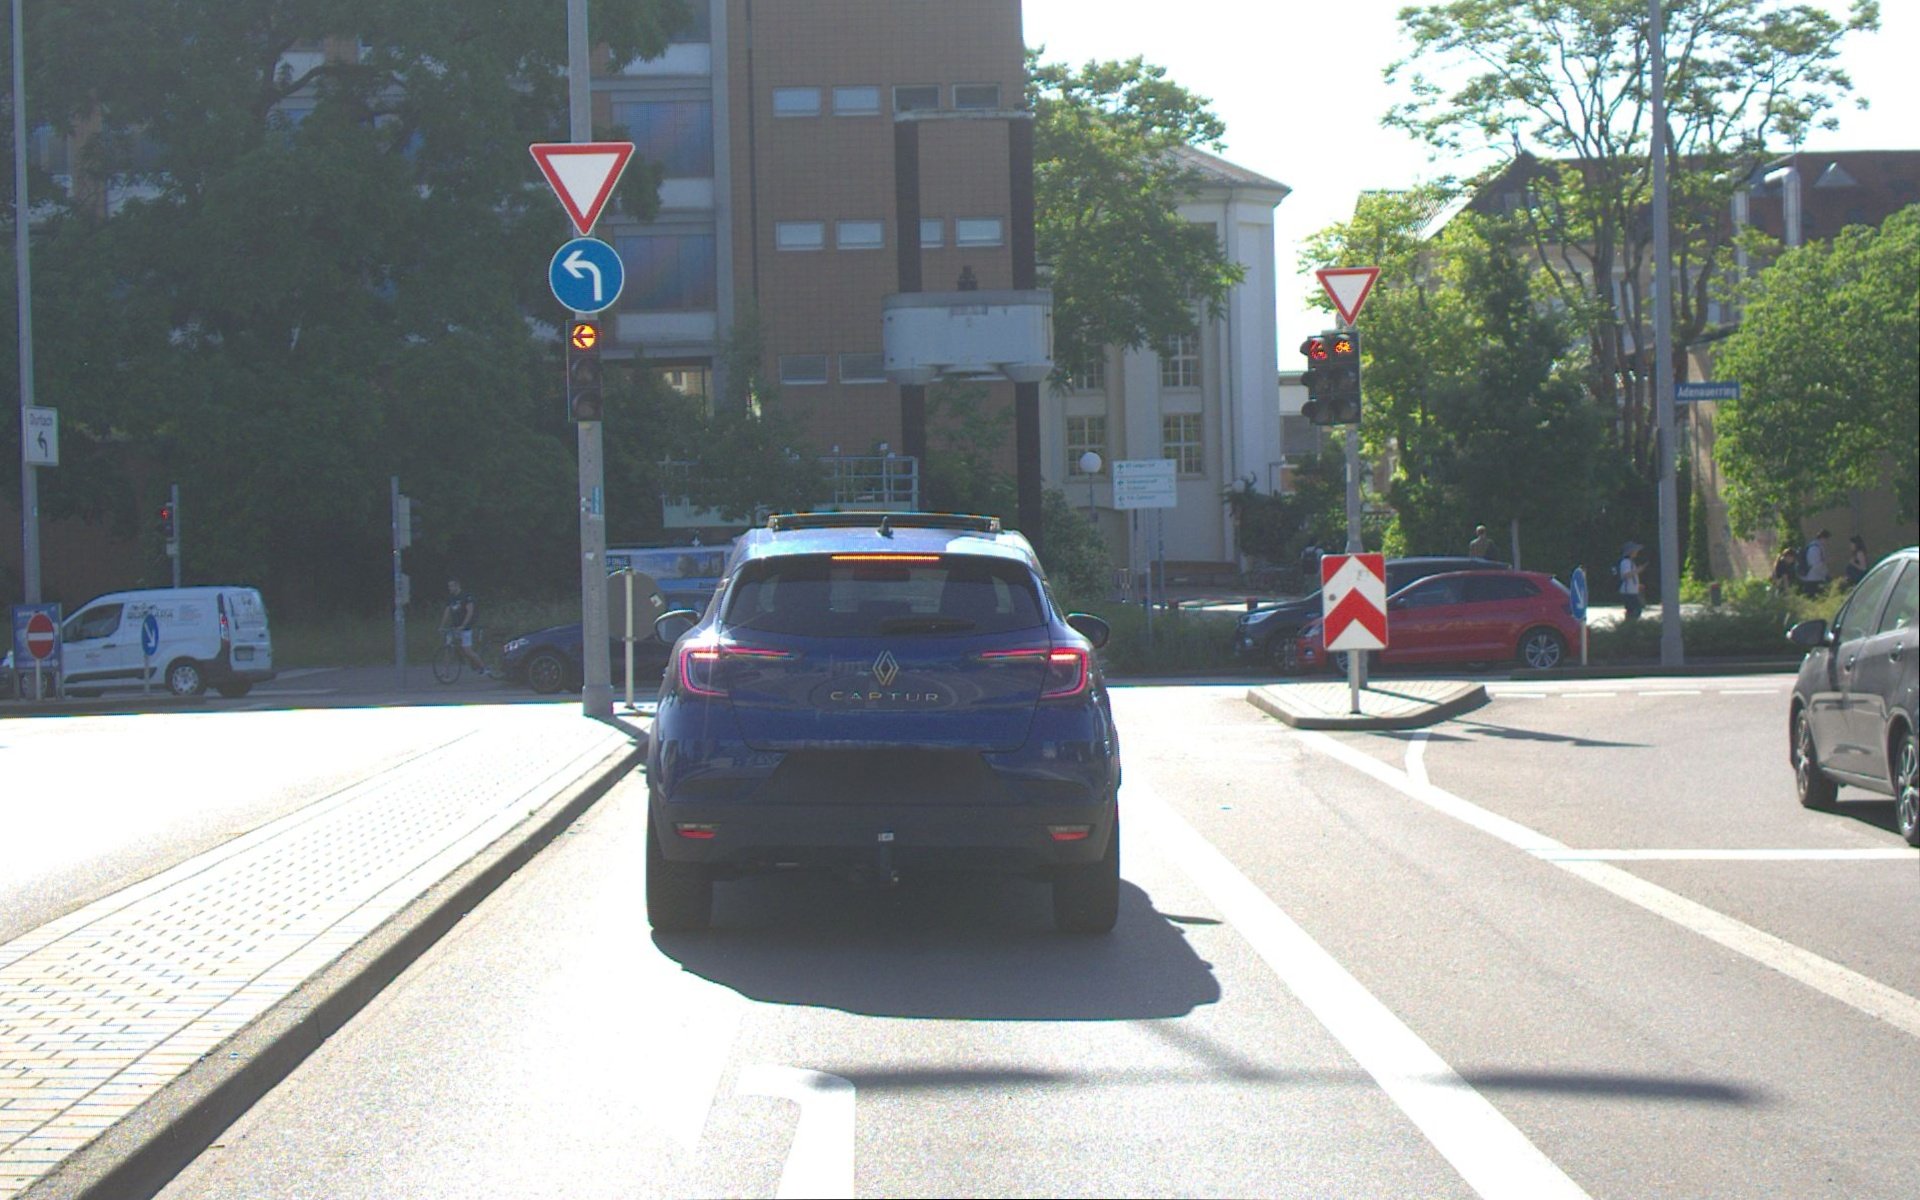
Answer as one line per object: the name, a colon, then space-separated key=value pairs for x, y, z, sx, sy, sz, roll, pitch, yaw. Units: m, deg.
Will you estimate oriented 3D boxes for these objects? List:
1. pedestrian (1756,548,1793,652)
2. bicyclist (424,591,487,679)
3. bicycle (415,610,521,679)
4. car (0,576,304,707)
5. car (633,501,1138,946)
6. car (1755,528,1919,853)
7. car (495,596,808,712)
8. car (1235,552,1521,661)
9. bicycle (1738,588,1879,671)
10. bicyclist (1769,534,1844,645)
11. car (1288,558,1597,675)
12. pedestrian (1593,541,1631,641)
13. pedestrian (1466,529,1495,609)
pedestrian: x=13.127 y=0.004 z=55.409 sx=0.556 sy=1.664 sz=0.476 roll=-1 pitch=-1 yaw=14
bicyclist: x=-8.434 y=0.578 z=57.526 sx=0.816 sy=1.439 sz=0.620 roll=-2 pitch=1 yaw=-37
bicycle: x=-8.249 y=0.742 z=57.674 sx=1.666 sy=1.089 sz=0.610 roll=-2 pitch=1 yaw=-38
car: x=-13.012 y=0.680 z=55.380 sx=4.350 sy=2.007 sz=1.999 roll=-1 pitch=-1 yaw=13
car: x=-0.432 y=0.436 z=14.208 sx=1.823 sy=1.594 sz=3.659 roll=0 pitch=0 yaw=-5
car: x=5.438 y=0.429 z=18.082 sx=1.756 sy=1.536 sz=3.658 roll=-1 pitch=0 yaw=2
car: x=-4.421 y=0.780 z=49.541 sx=4.116 sy=1.581 sz=1.879 roll=-1 pitch=-1 yaw=11
car: x=6.020 y=0.082 z=49.647 sx=3.988 sy=1.459 sz=2.000 roll=-1 pitch=1 yaw=6
bicycle: x=14.294 y=0.514 z=57.996 sx=0.848 sy=1.366 sz=2.459 roll=0 pitch=-1 yaw=-28
bicyclist: x=14.277 y=-0.169 z=58.001 sx=0.848 sy=1.840 sz=0.859 roll=0 pitch=-1 yaw=-28
car: x=6.420 y=0.214 z=46.027 sx=3.988 sy=1.459 sz=2.000 roll=-1 pitch=0 yaw=6
pedestrian: x=10.880 y=-0.147 z=57.342 sx=0.560 sy=1.664 sz=0.476 roll=-1 pitch=-1 yaw=14
pedestrian: x=10.975 y=-0.647 z=72.476 sx=0.577 sy=1.664 sz=0.562 roll=-1 pitch=-1 yaw=9
